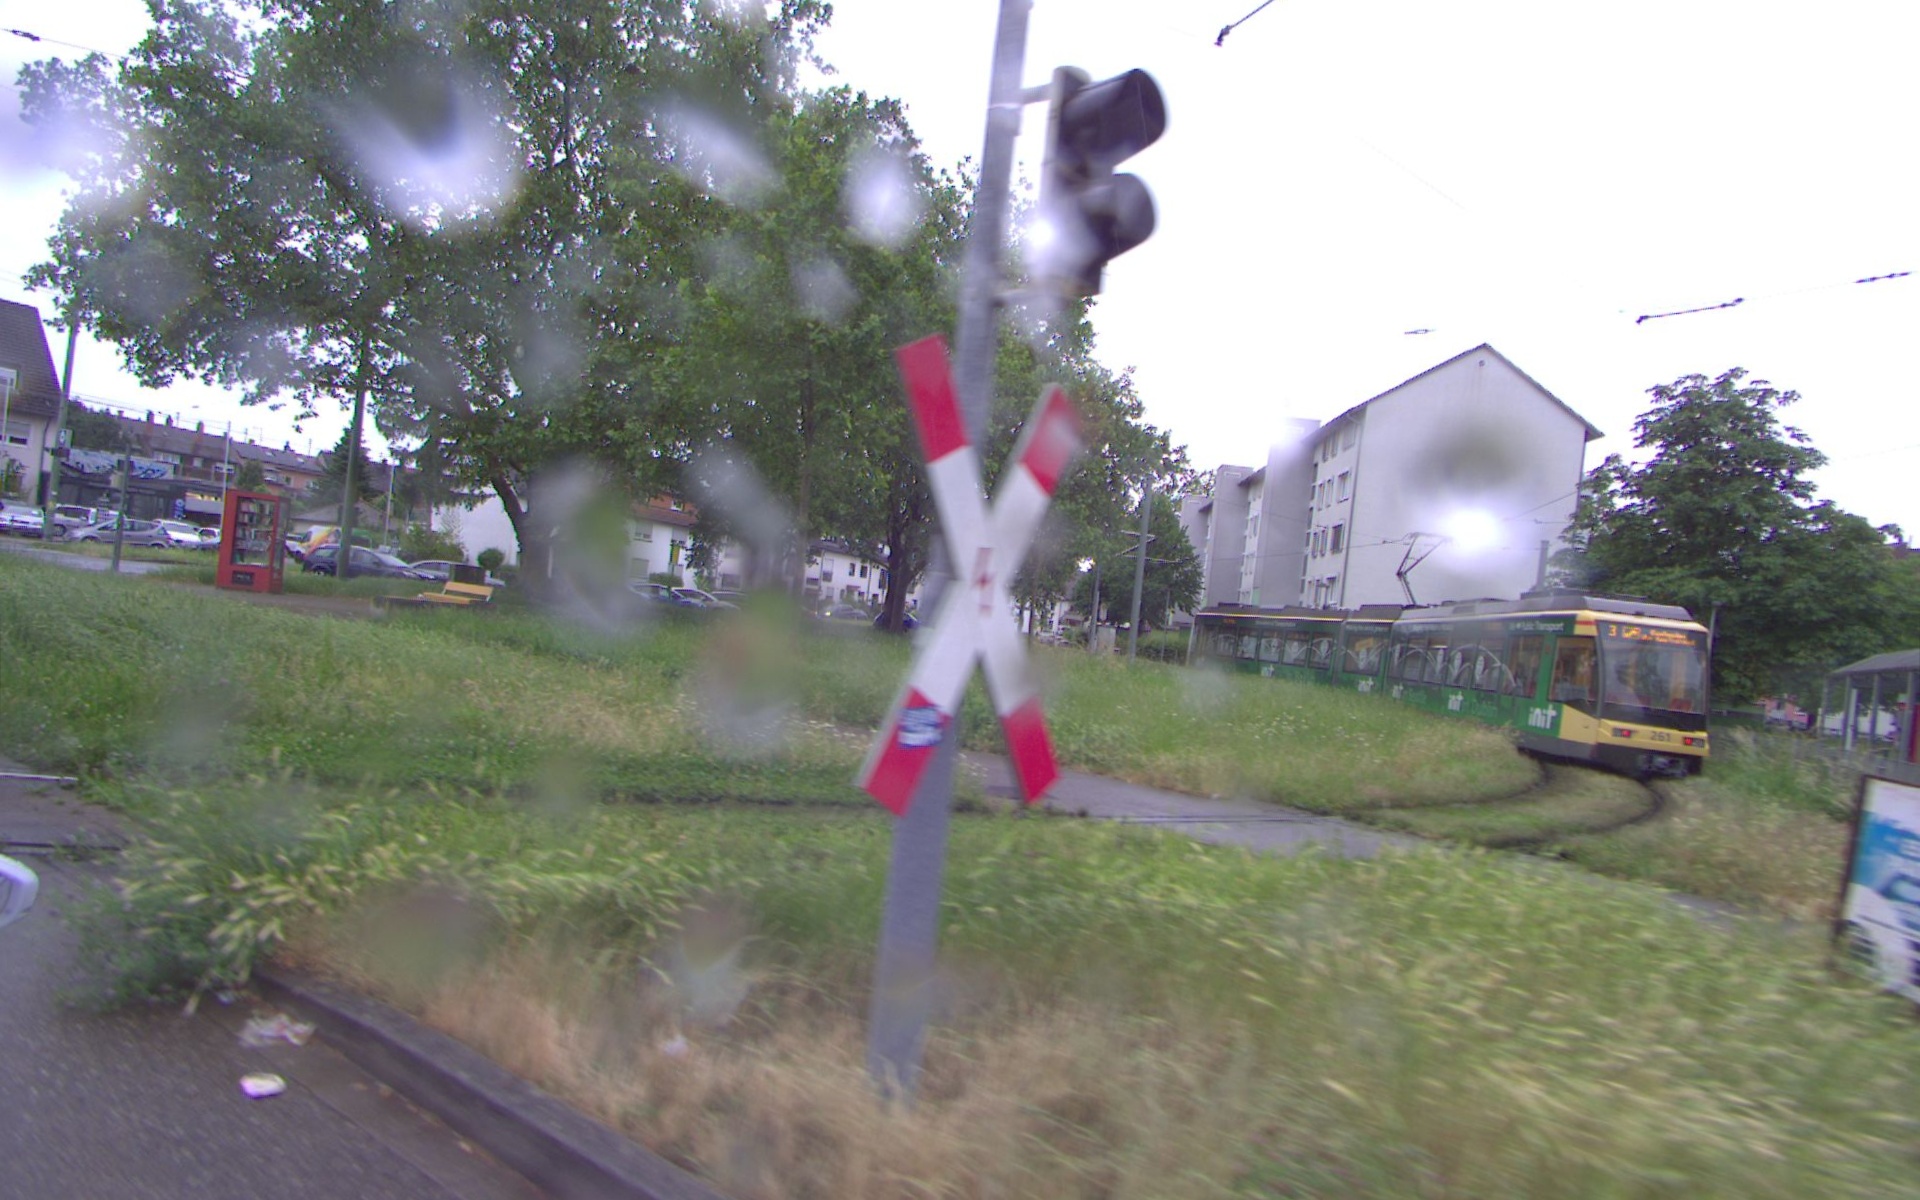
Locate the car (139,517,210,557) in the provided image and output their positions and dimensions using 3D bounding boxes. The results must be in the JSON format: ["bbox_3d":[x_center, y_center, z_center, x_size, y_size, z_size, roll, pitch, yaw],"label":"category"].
[{"bbox_3d":[-40.717,-3.269,52.133,3.559,1.590,1.720,6,-3,33],"label":"car"}]

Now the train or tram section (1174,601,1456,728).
[{"bbox_3d":[12.607,2.018,38.502,2.671,3.631,14.712,8,-2,-11],"label":"train or tram section"}]

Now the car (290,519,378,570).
[{"bbox_3d":[-37.682,-3.347,60.538,5.061,2.433,2.151,6,-3,30],"label":"car"}]

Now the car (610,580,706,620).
[{"bbox_3d":[-13.908,0.040,46.522,3.928,1.518,1.824,4,-2,-7],"label":"car"}]

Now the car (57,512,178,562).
[{"bbox_3d":[-37.198,-2.754,44.513,1.694,1.521,3.641,6,-3,30],"label":"car"}]

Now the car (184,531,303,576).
[{"bbox_3d":[-35.074,-2.236,49.371,1.692,1.353,4.392,6,-4,26],"label":"car"}]

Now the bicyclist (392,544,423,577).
[{"bbox_3d":[-30.035,-2.138,54.688,0.933,1.618,1.040,6,1,28],"label":"bicyclist"}]

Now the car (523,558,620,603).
[{"bbox_3d":[-16.706,-0.819,43.393,3.454,1.523,1.754,5,-2,-6],"label":"car"}]

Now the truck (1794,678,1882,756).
[{"bbox_3d":[47.533,6.419,54.601,3.157,3.512,7.123,6,-3,41],"label":"truck"}]

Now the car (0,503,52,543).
[{"bbox_3d":[-43.674,-3.582,46.754,4.007,1.521,1.825,5,-4,45],"label":"car"}]

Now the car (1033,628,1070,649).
[{"bbox_3d":[8.521,3.605,93.118,1.928,1.571,3.997,4,-3,28],"label":"car"}]

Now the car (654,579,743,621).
[{"bbox_3d":[-12.690,0.027,49.093,3.932,1.571,1.959,6,-2,-10],"label":"car"}]

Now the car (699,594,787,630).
[{"bbox_3d":[-11.111,0.626,51.813,4.046,1.498,1.866,5,-1,-2],"label":"car"}]

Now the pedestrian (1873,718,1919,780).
[{"bbox_3d":[31.831,5.033,33.908,1.043,1.905,1.181,8,-2,-31],"label":"pedestrian"}]

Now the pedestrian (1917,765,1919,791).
[{"bbox_3d":[22.822,3.697,23.235,0.776,1.590,0.636,6,-2,30],"label":"pedestrian"}]

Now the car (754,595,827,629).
[{"bbox_3d":[-9.207,0.676,54.819,3.530,1.498,1.639,5,-1,4],"label":"car"}]

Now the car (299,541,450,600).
[{"bbox_3d":[-20.517,-1.013,35.359,4.100,1.494,1.804,7,0,0],"label":"car"}]

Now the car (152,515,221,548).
[{"bbox_3d":[-48.490,-4.302,63.025,3.930,1.515,1.787,6,-3,27],"label":"car"}]

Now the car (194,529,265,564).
[{"bbox_3d":[-39.248,-2.883,54.041,3.780,1.411,1.721,6,-3,33],"label":"car"}]

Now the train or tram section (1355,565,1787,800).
[{"bbox_3d":[13.230,1.712,24.408,2.663,3.631,14.753,8,-2,7],"label":"train or tram section"}]

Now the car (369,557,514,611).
[{"bbox_3d":[-19.491,-0.582,37.931,4.463,1.494,1.805,7,0,4],"label":"car"}]

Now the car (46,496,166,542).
[{"bbox_3d":[-44.965,-4.244,53.076,1.731,1.707,4.438,5,-1,32],"label":"car"}]

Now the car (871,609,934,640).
[{"bbox_3d":[-3.704,1.577,65.277,3.926,1.502,1.999,6,1,-2],"label":"car"}]
